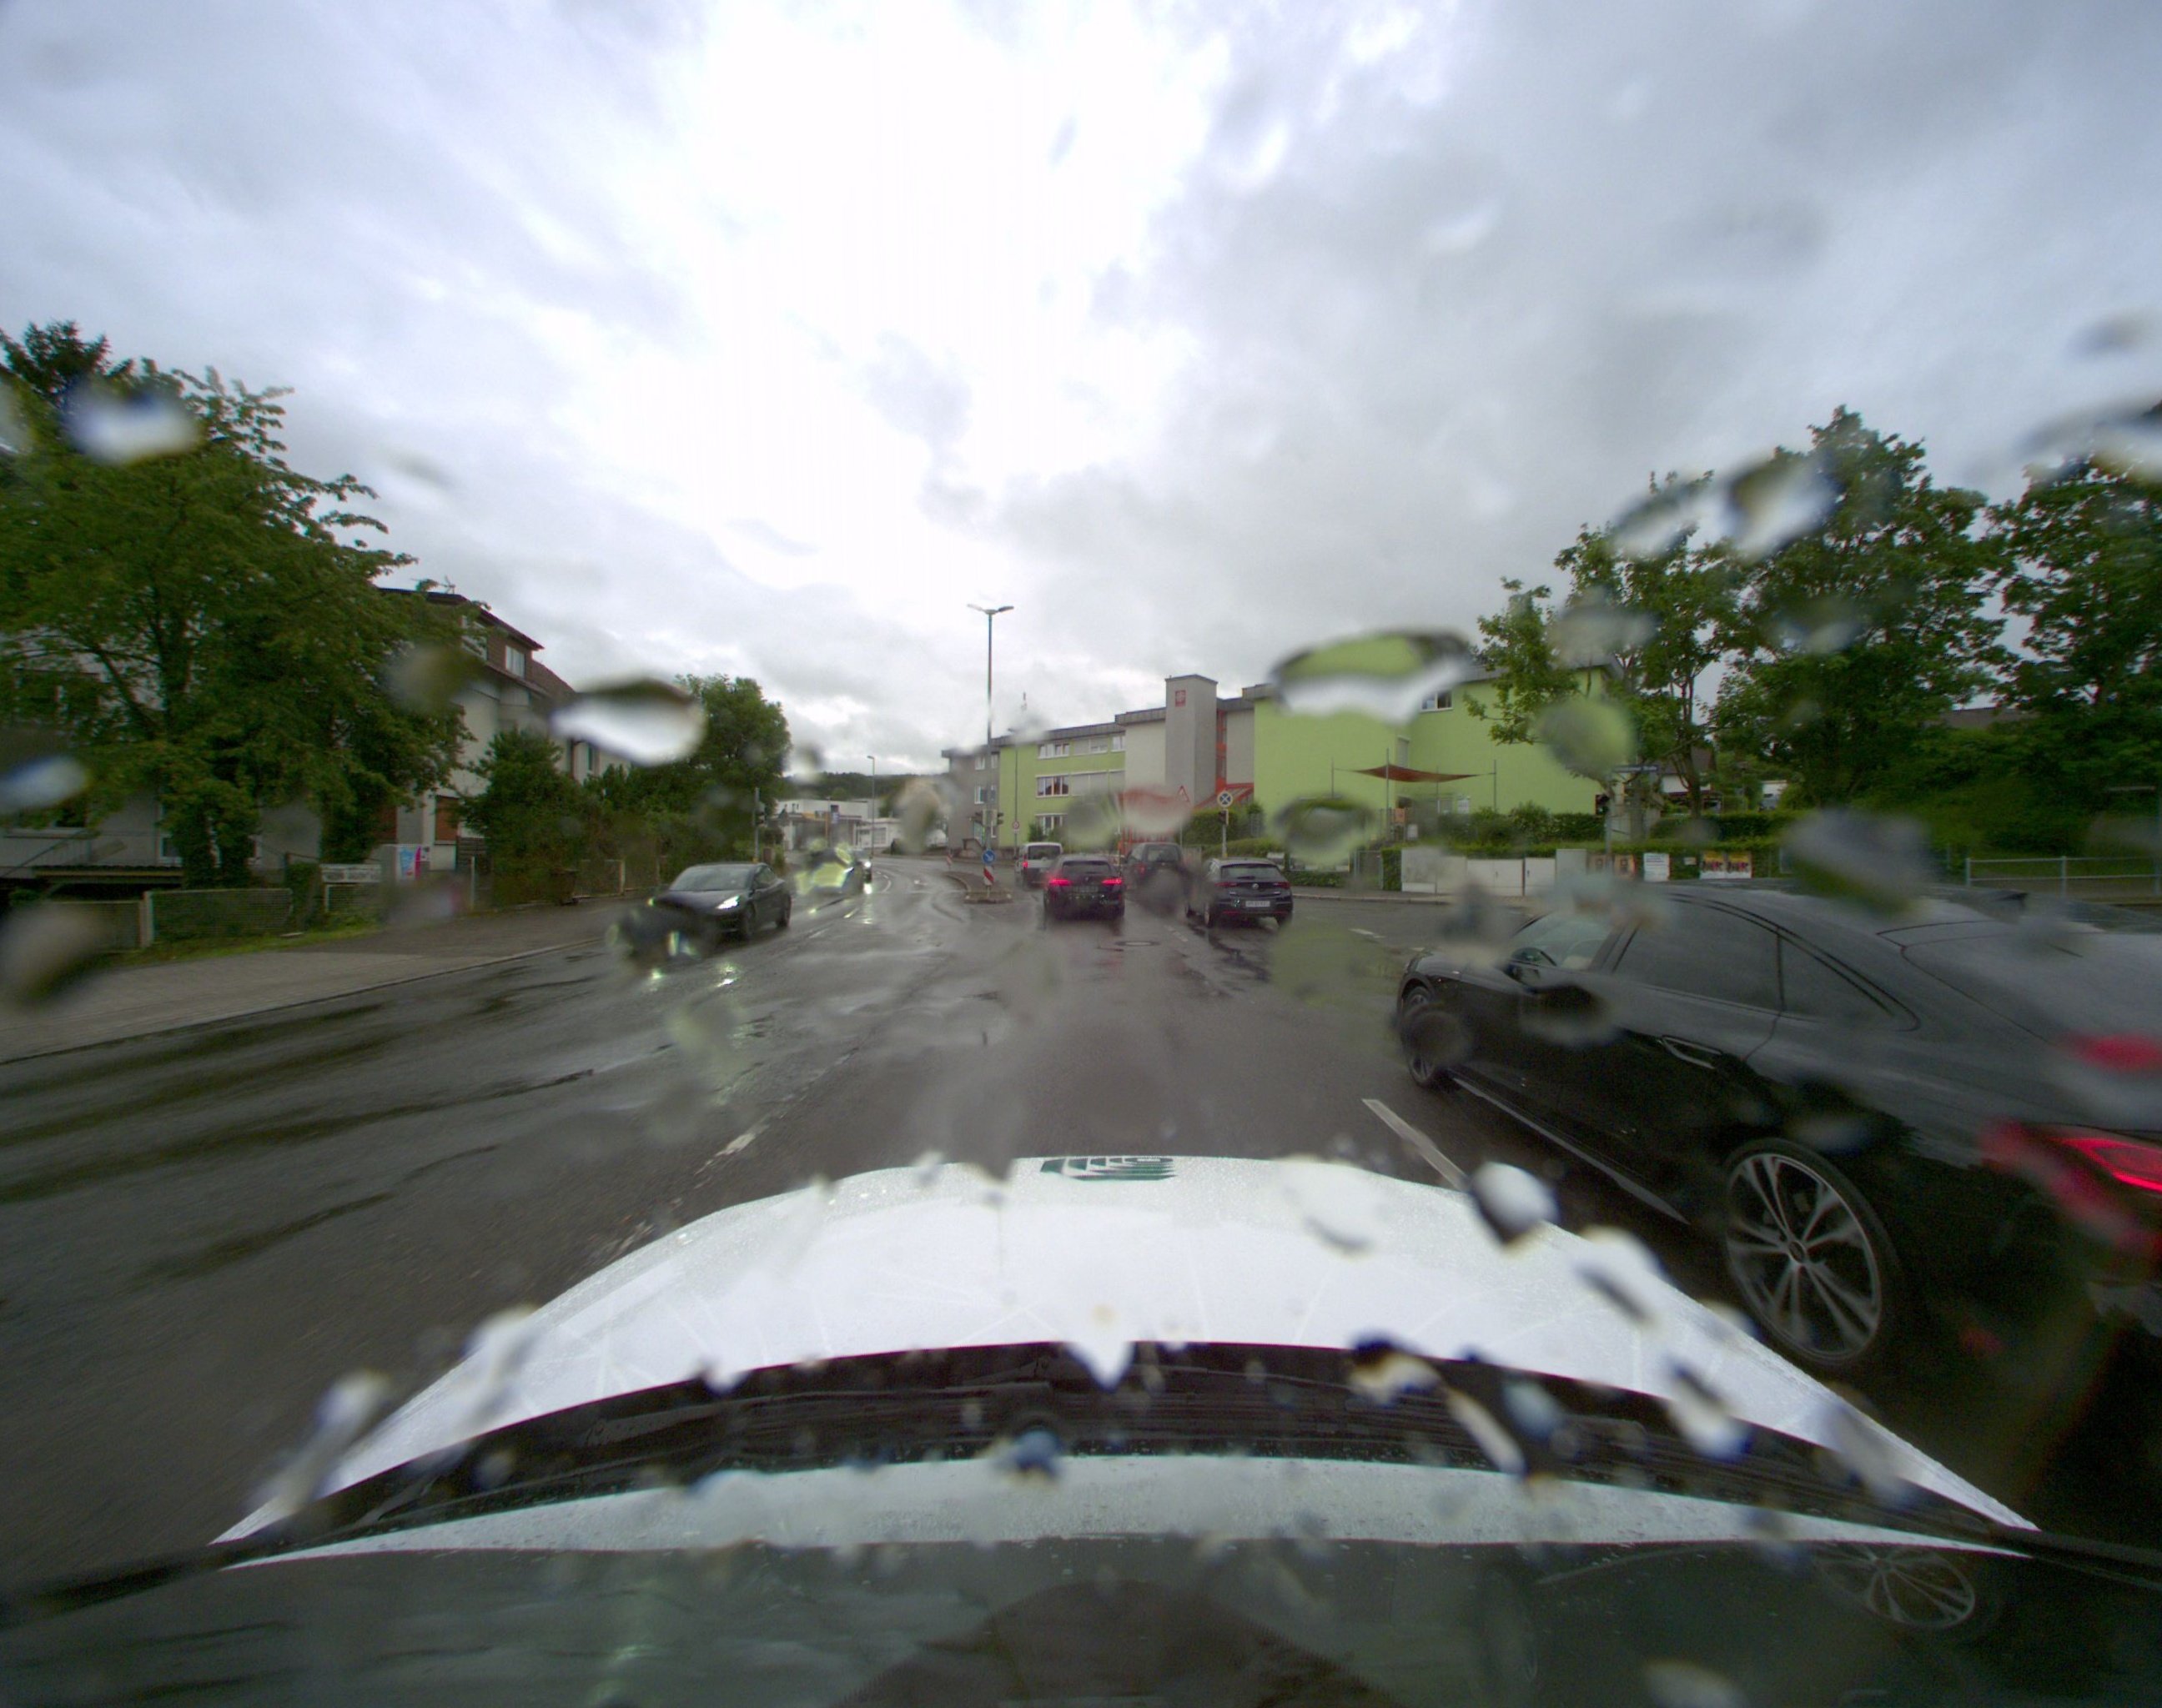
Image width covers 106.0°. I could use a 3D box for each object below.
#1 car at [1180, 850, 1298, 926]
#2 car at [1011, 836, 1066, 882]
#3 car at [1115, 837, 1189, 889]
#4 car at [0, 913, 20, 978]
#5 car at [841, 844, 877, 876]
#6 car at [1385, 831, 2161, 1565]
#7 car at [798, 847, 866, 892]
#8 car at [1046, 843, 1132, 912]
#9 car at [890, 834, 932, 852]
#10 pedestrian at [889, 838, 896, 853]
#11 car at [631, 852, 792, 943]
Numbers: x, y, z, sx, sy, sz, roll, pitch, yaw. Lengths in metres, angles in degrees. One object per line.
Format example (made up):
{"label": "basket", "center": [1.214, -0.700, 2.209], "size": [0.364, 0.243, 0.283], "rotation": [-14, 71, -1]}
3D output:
{"label": "car", "center": [3.431, 0.680, 18.459], "size": [1.844, 1.486, 4.085], "rotation": [-1, 1, -1]}
{"label": "car", "center": [-1.896, 0.176, 35.273], "size": [1.718, 1.844, 4.070], "rotation": [-2, 1, -12]}
{"label": "car", "center": [2.525, 0.262, 30.041], "size": [1.782, 1.734, 4.075], "rotation": [-2, 2, -9]}
{"label": "car", "center": [-25.255, 2.146, 17.098], "size": [1.802, 1.484, 3.969], "rotation": [-5, 0, -23]}
{"label": "car", "center": [-11.942, 0.323, 43.996], "size": [1.622, 1.581, 3.758], "rotation": [-2, 0, -12]}
{"label": "car", "center": [3.006, 0.647, 3.662], "size": [1.700, 1.427, 4.510], "rotation": [0, 1, 1]}
{"label": "car", "center": [-9.527, 0.556, 31.502], "size": [1.848, 1.564, 3.989], "rotation": [-1, 0, -8]}
{"label": "car", "center": [0.100, 0.515, 20.204], "size": [1.680, 1.506, 3.765], "rotation": [-1, 0, -6]}
{"label": "car", "center": [-18.649, -1.192, 89.268], "size": [4.400, 1.772, 1.991], "rotation": [-2, 0, -14]}
{"label": "pedestrian", "center": [-19.501, -0.885, 84.374], "size": [0.416, 1.620, 0.477], "rotation": [-2, 0, 44]}
{"label": "car", "center": [-7.111, 0.744, 16.153], "size": [1.792, 1.489, 4.141], "rotation": [-2, 0, -9]}
